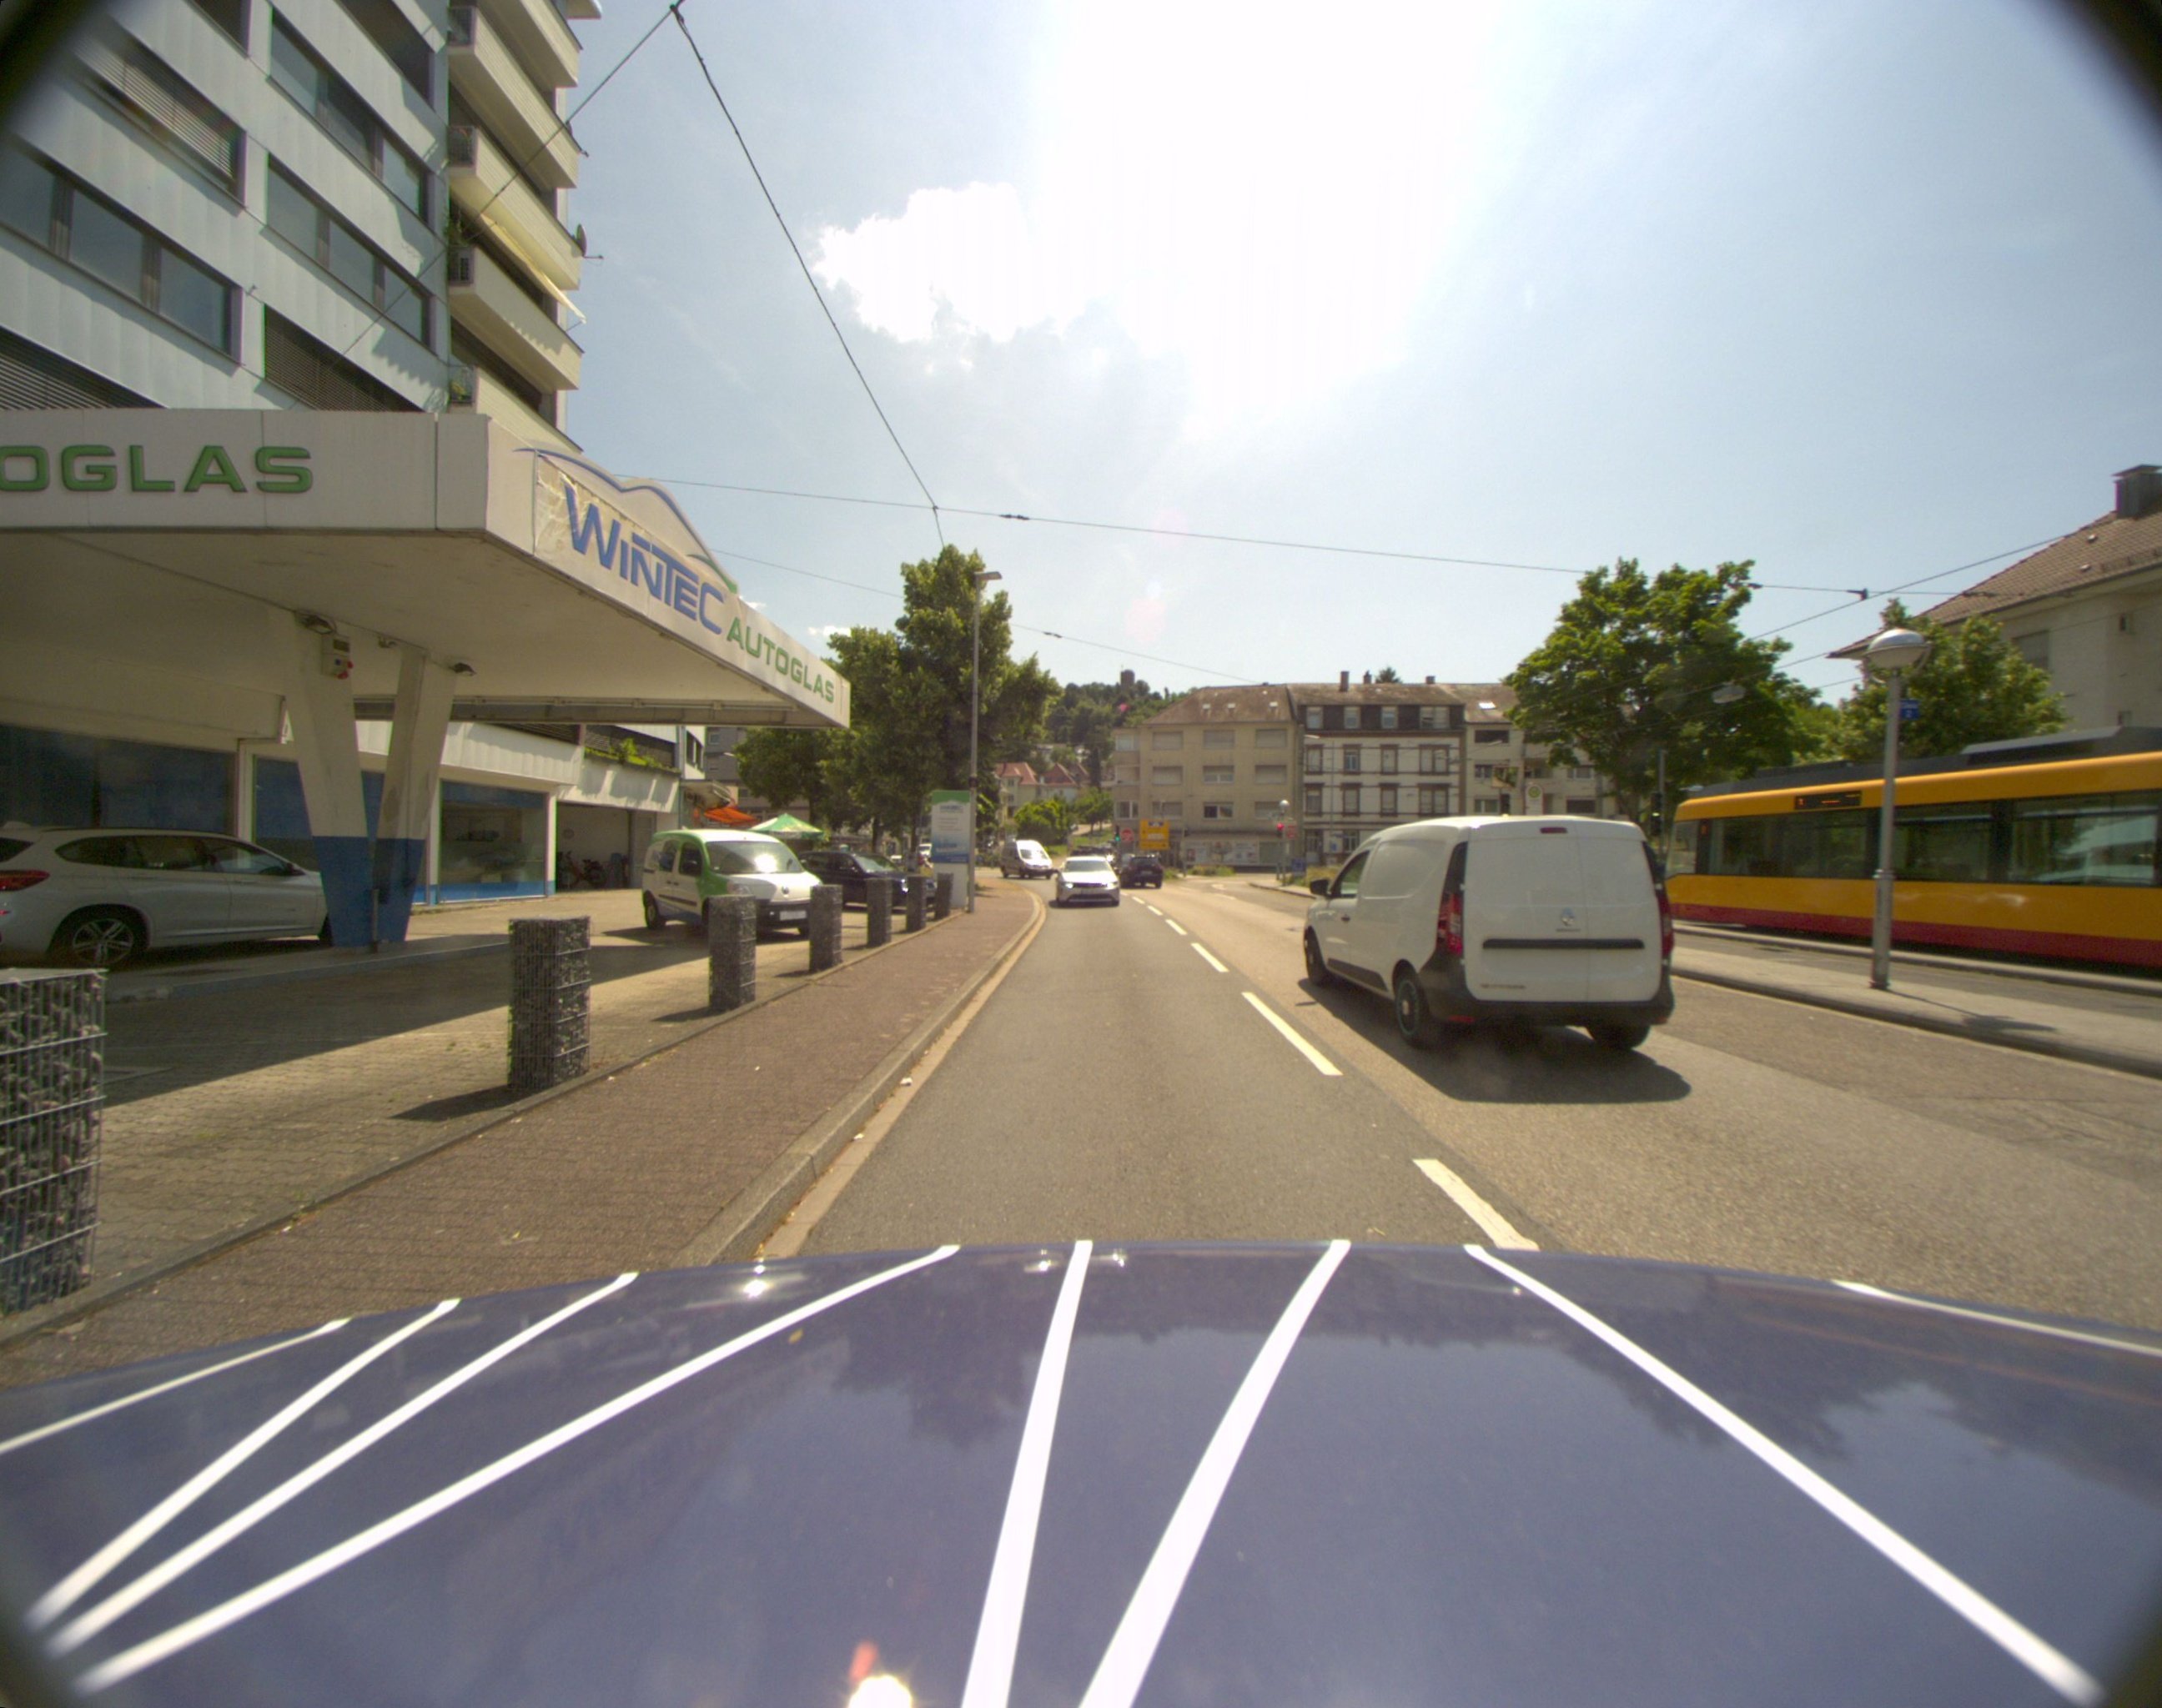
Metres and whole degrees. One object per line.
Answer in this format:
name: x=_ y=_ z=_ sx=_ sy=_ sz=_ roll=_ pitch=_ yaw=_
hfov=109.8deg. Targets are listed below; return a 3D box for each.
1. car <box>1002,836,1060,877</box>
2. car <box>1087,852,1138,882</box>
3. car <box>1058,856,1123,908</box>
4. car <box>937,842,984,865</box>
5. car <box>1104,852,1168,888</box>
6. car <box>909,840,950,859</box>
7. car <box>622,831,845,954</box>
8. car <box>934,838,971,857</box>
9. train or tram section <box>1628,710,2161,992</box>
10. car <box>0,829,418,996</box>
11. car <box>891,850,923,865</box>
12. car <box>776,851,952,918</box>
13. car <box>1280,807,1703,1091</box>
car: x=-3.066 y=0.114 z=45.113 sx=2.002 sy=2.258 sz=5.435 roll=-2 pitch=1 yaw=-20
car: x=1.695 y=0.674 z=42.427 sx=1.842 sy=1.482 sz=4.123 roll=-2 pitch=1 yaw=-12
car: x=0.210 y=0.787 z=23.374 sx=1.818 sy=1.371 sz=4.390 roll=0 pitch=1 yaw=-2
car: x=-11.843 y=-0.088 z=75.166 sx=2.398 sy=2.002 sz=6.378 roll=-1 pitch=1 yaw=13
car: x=2.426 y=0.663 z=34.718 sx=1.842 sy=1.482 sz=4.807 roll=0 pitch=1 yaw=-9
car: x=-16.503 y=-0.509 z=83.136 sx=2.398 sy=2.002 sz=5.385 roll=-1 pitch=1 yaw=13
car: x=-6.116 y=0.551 z=13.138 sx=4.277 sy=1.779 sz=1.827 roll=0 pitch=2 yaw=41
car: x=-15.142 y=-0.788 z=89.666 sx=2.398 sy=2.002 sz=5.385 roll=-1 pitch=1 yaw=13
train or tram section: x=14.843 y=-0.081 z=12.334 sx=2.970 sy=3.475 sz=12.713 roll=-1 pitch=0 yaw=1
car: x=-11.259 y=0.558 z=9.459 sx=1.750 sy=1.617 sz=4.706 roll=0 pitch=0 yaw=2
car: x=-17.758 y=0.373 z=77.655 sx=1.529 sy=1.361 sz=4.159 roll=-1 pitch=1 yaw=13
car: x=-5.326 y=0.685 z=18.608 sx=3.962 sy=1.420 sz=1.703 roll=2 pitch=1 yaw=25
car: x=3.316 y=0.584 z=7.347 sx=1.708 sy=1.840 sz=4.712 roll=-1 pitch=1 yaw=3
